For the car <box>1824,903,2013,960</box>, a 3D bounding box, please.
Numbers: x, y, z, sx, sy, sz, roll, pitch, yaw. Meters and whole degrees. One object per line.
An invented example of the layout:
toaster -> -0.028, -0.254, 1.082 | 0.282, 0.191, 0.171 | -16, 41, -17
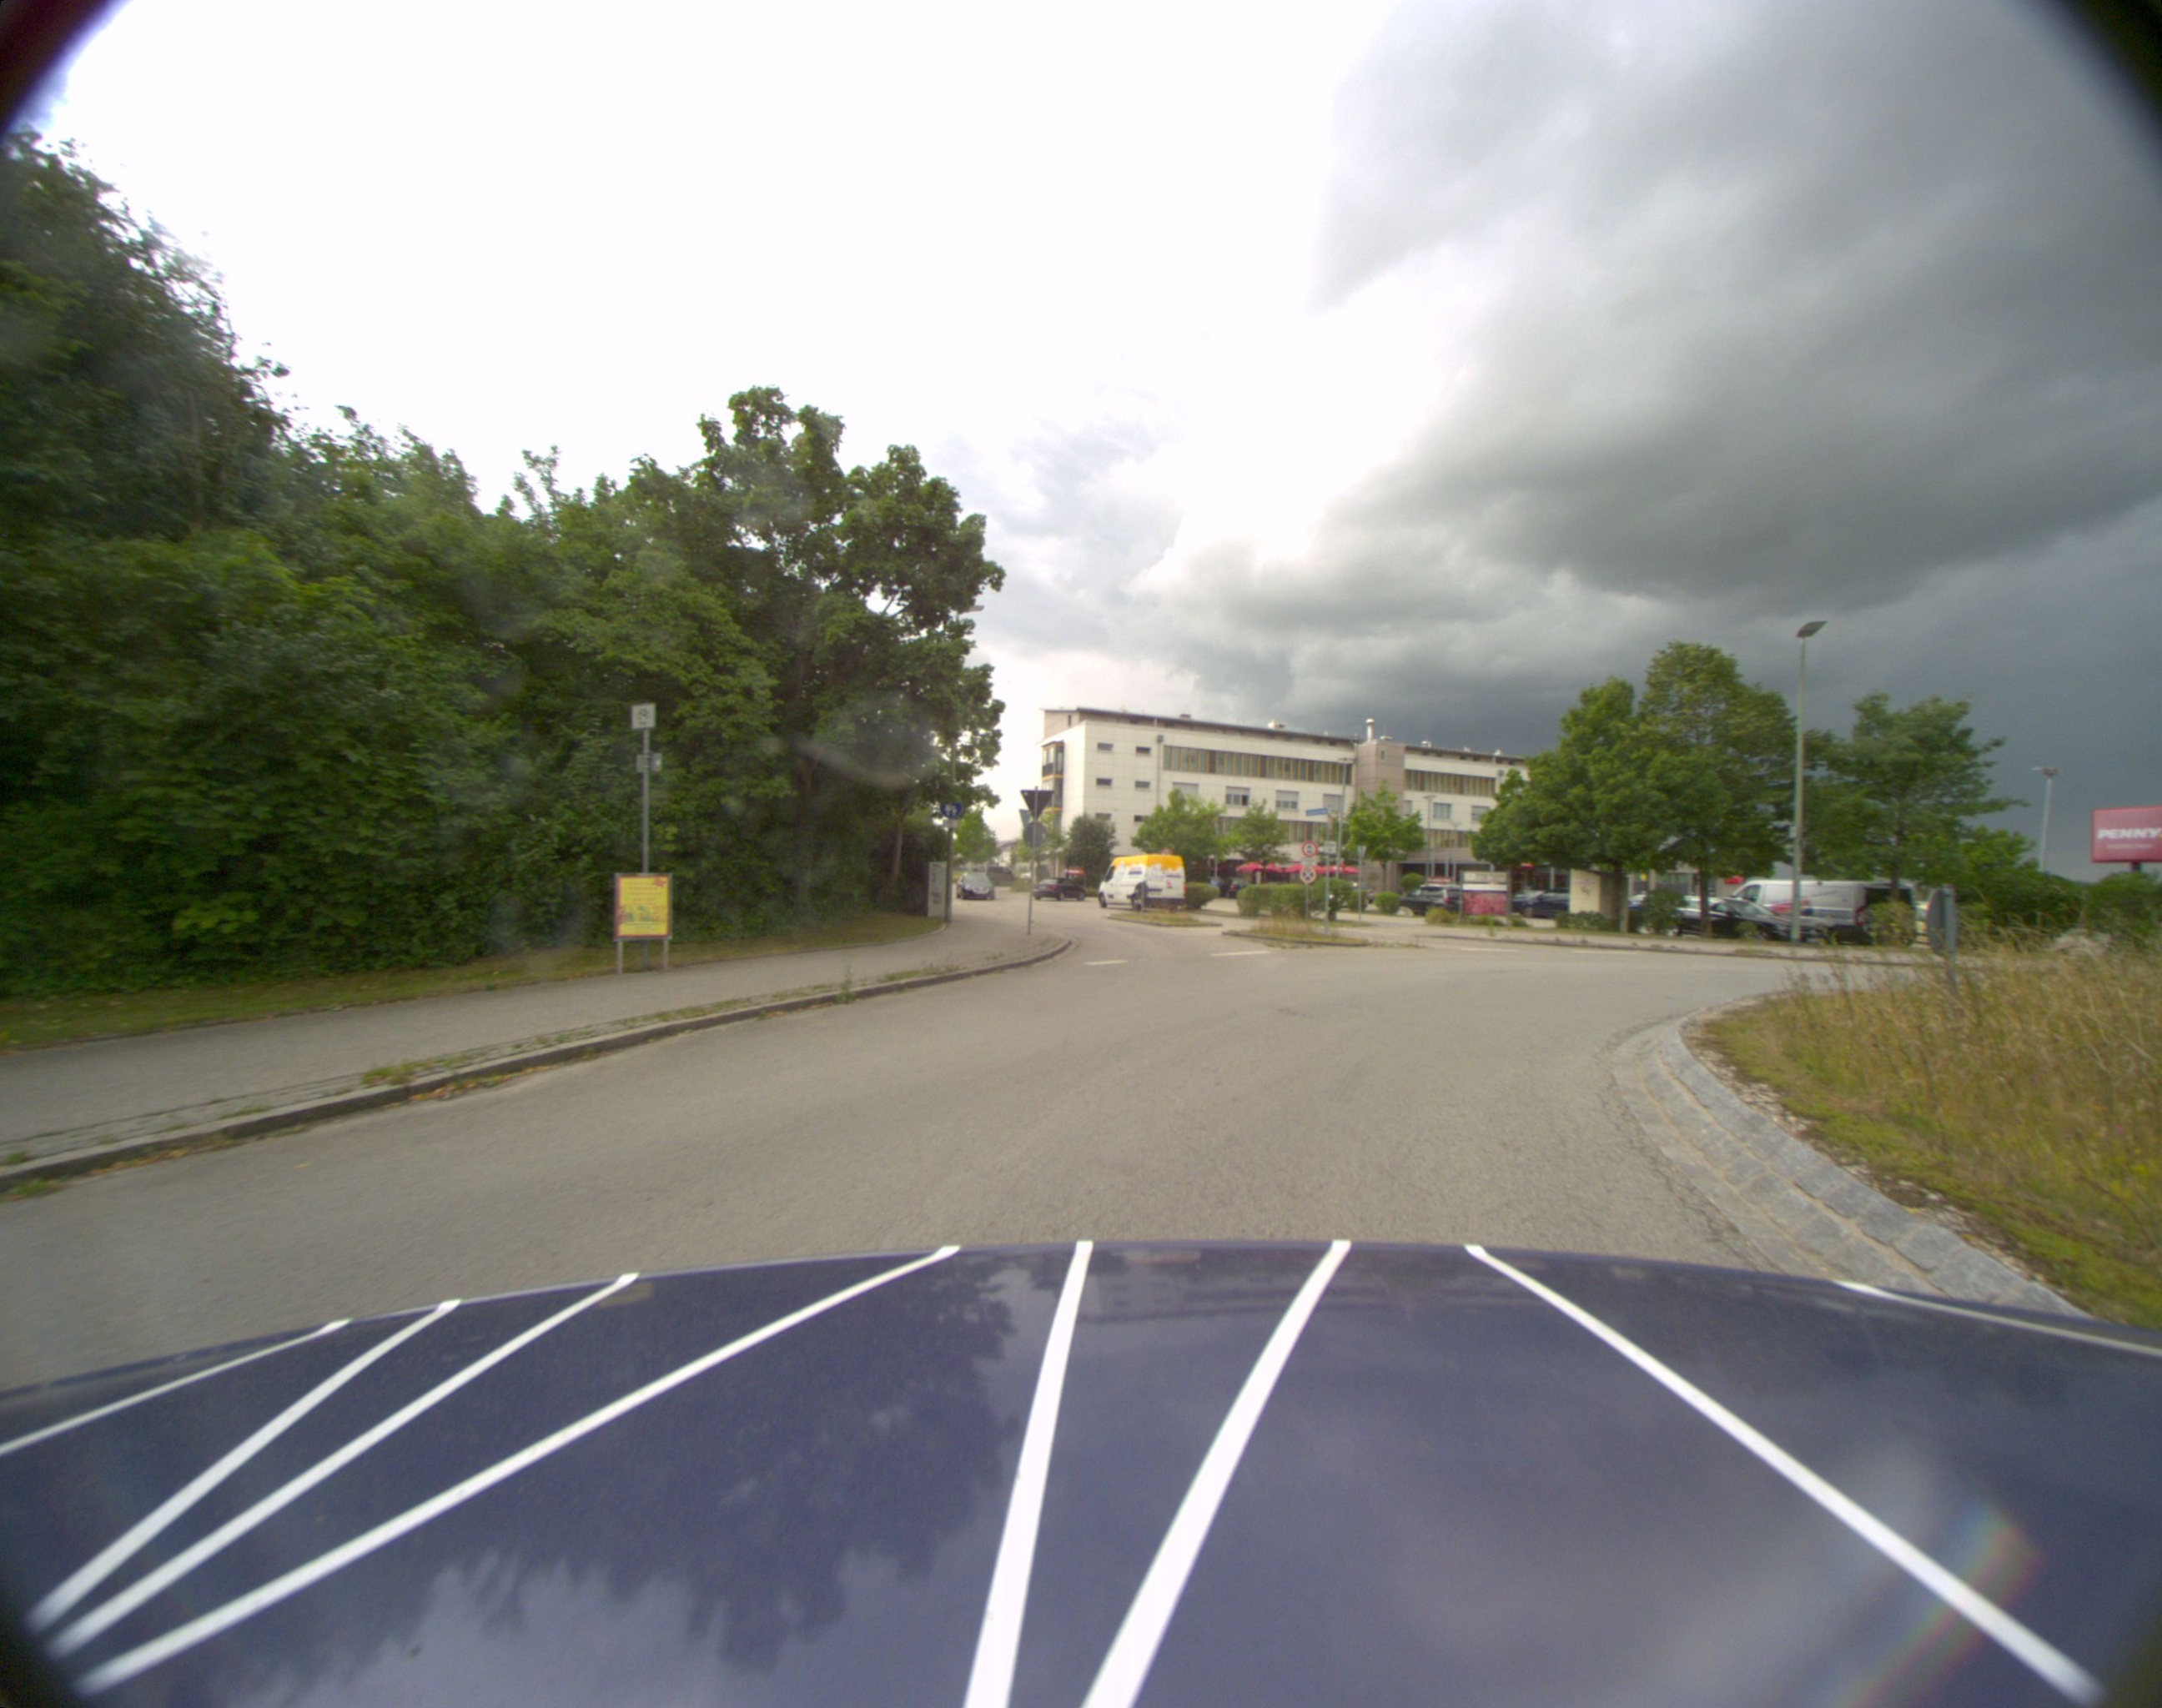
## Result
car -> 28.038, 2.543, 25.630 | 1.763, 1.546, 3.935 | 3, -1, -9

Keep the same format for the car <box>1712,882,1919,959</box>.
car -> 23.815, 2.064, 24.918 | 2.157, 2.145, 4.413 | 2, -1, -9

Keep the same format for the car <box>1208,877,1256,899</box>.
car -> 10.814, 2.442, 54.653 | 1.822, 1.448, 3.995 | 2, -1, -14

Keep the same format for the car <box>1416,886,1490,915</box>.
car -> 20.575, 2.601, 42.228 | 1.874, 1.501, 4.088 | 2, -4, -5

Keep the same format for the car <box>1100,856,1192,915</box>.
car -> 2.852, 1.401, 34.791 | 2.171, 2.437, 5.434 | 3, -2, -18

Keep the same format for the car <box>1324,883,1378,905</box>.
car -> 19.685, 2.905, 55.555 | 1.822, 1.448, 3.995 | 2, -1, -14

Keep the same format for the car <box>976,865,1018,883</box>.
car -> -7.992, 1.926, 72.628 | 1.650, 1.721, 4.010 | 0, -2, 37

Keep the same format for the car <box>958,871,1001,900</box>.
car -> -5.800, 1.738, 43.047 | 1.802, 1.455, 3.995 | 2, -1, -16

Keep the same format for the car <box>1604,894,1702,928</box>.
car -> 28.539, 2.838, 38.074 | 1.659, 1.495, 3.790 | 2, -2, -11

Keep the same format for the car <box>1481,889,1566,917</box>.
car -> 25.868, 2.880, 44.571 | 1.782, 1.529, 4.081 | 3, -4, -23

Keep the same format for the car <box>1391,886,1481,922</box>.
car -> 16.472, 2.289, 35.490 | 1.822, 1.448, 3.997 | 2, -1, -11

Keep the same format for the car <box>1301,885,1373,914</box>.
car -> 13.810, 2.449, 41.260 | 1.822, 1.448, 3.997 | 2, -3, -14

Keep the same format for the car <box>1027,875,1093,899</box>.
car -> -1.192, 1.977, 45.287 | 1.795, 1.323, 4.010 | 1, -1, 36

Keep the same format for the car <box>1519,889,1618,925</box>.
car -> 23.700, 2.535, 37.098 | 1.822, 1.533, 3.997 | 2, -2, -11

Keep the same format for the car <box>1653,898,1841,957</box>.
car -> 21.184, 2.298, 24.455 | 1.763, 1.484, 4.413 | 3, -1, -9
